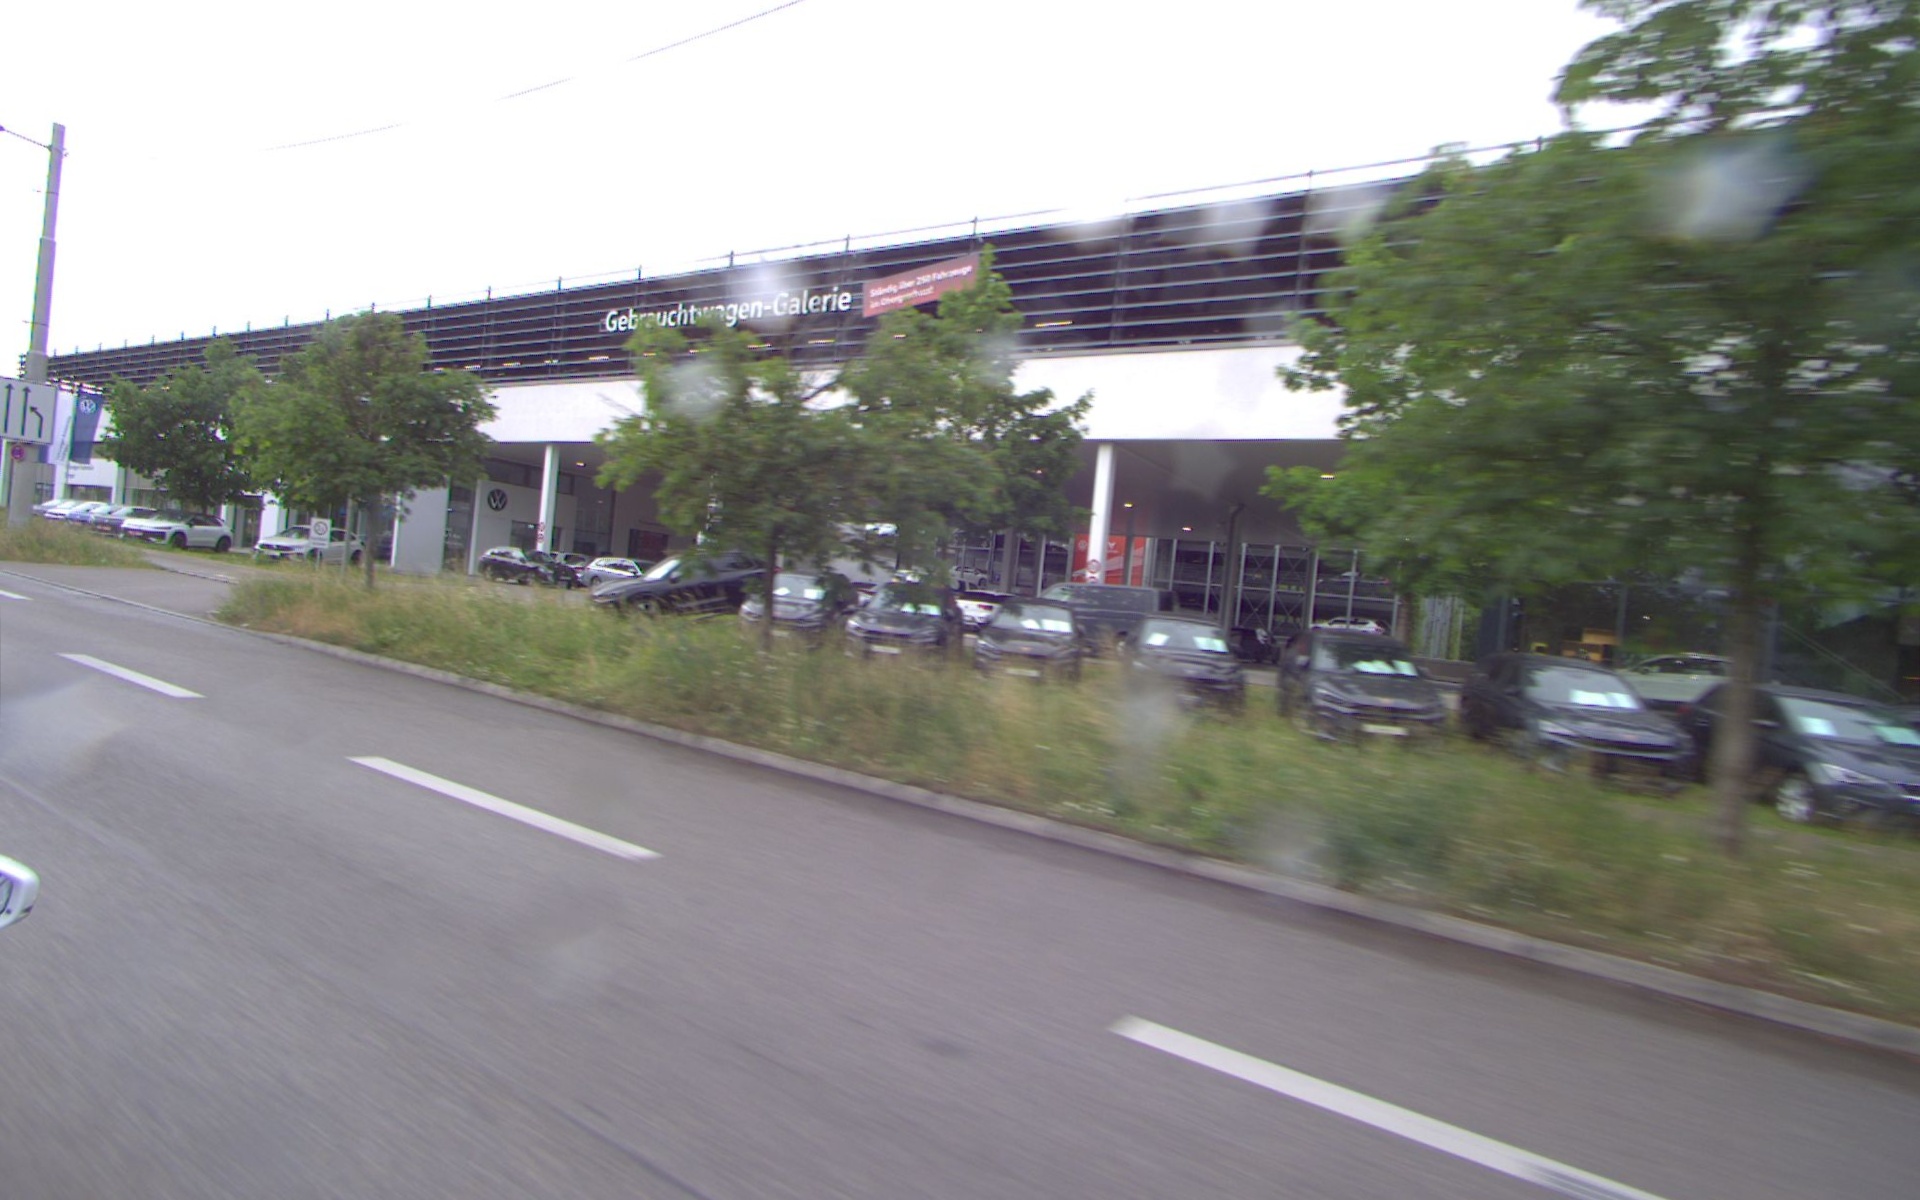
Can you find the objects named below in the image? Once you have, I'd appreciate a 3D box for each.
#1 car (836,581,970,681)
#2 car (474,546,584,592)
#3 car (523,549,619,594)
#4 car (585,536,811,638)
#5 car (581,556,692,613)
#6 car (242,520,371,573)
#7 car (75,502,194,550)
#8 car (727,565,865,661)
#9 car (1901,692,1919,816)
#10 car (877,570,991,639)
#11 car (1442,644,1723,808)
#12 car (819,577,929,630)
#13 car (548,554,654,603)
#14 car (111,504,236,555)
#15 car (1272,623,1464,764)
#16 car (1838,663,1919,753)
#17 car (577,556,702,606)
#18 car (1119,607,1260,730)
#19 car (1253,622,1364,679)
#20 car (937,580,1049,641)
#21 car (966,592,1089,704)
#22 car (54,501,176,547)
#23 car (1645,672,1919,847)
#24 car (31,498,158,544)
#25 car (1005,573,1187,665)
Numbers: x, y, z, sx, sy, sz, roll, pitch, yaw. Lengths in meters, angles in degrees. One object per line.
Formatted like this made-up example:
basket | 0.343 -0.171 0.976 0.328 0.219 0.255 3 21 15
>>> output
car | -0.997 0.536 19.780 1.834 1.582 4.152 6 1 6
car | -17.695 -1.273 41.278 4.617 1.487 1.780 6 1 32
car | -17.813 -1.299 46.225 1.611 1.607 3.820 6 0 32
car | -6.070 -0.281 23.522 4.674 1.901 1.808 5 1 -34
car | -13.574 -0.626 42.433 1.861 1.747 3.993 6 -3 35
car | -22.485 -1.799 34.819 1.715 1.484 4.098 5 1 0
car | -33.891 -2.985 41.449 1.767 1.589 4.183 5 1 -8
car | -3.329 0.231 21.331 1.834 1.633 4.334 6 1 4
car | 12.761 2.044 10.893 1.759 1.554 4.152 6 1 13
car | -0.845 0.200 35.136 1.912 2.000 4.030 6 0 32
car | 8.203 1.548 13.764 1.796 1.548 4.152 6 1 12
car | -3.070 0.167 36.753 1.873 1.556 3.991 6 0 32
car | -15.792 -0.928 44.445 1.758 1.525 3.993 6 -3 35
car | -30.583 -2.696 39.264 1.766 1.589 4.096 5 1 -4
car | 5.961 1.259 15.235 1.873 1.590 4.152 6 1 12
car | 18.234 2.105 17.686 3.834 1.491 1.667 7 0 31
car | -12.107 -0.723 37.929 4.619 1.487 1.894 6 1 32
car | 3.677 1.014 16.777 1.792 1.590 4.152 6 1 8
car | 15.012 2.154 43.398 4.032 2.039 1.995 5 0 32
car | 1.167 0.398 33.557 1.873 1.652 3.991 6 0 32
car | 1.343 0.779 18.296 1.792 1.625 4.152 6 1 8
car | -36.602 -3.258 43.718 1.766 1.589 4.187 5 1 -2
car | 10.440 1.843 12.410 1.759 1.477 4.152 6 1 13
car | -39.411 -3.567 45.964 1.821 1.647 4.354 5 1 3
car | 3.657 0.506 27.273 4.356 1.963 1.889 7 0 31
